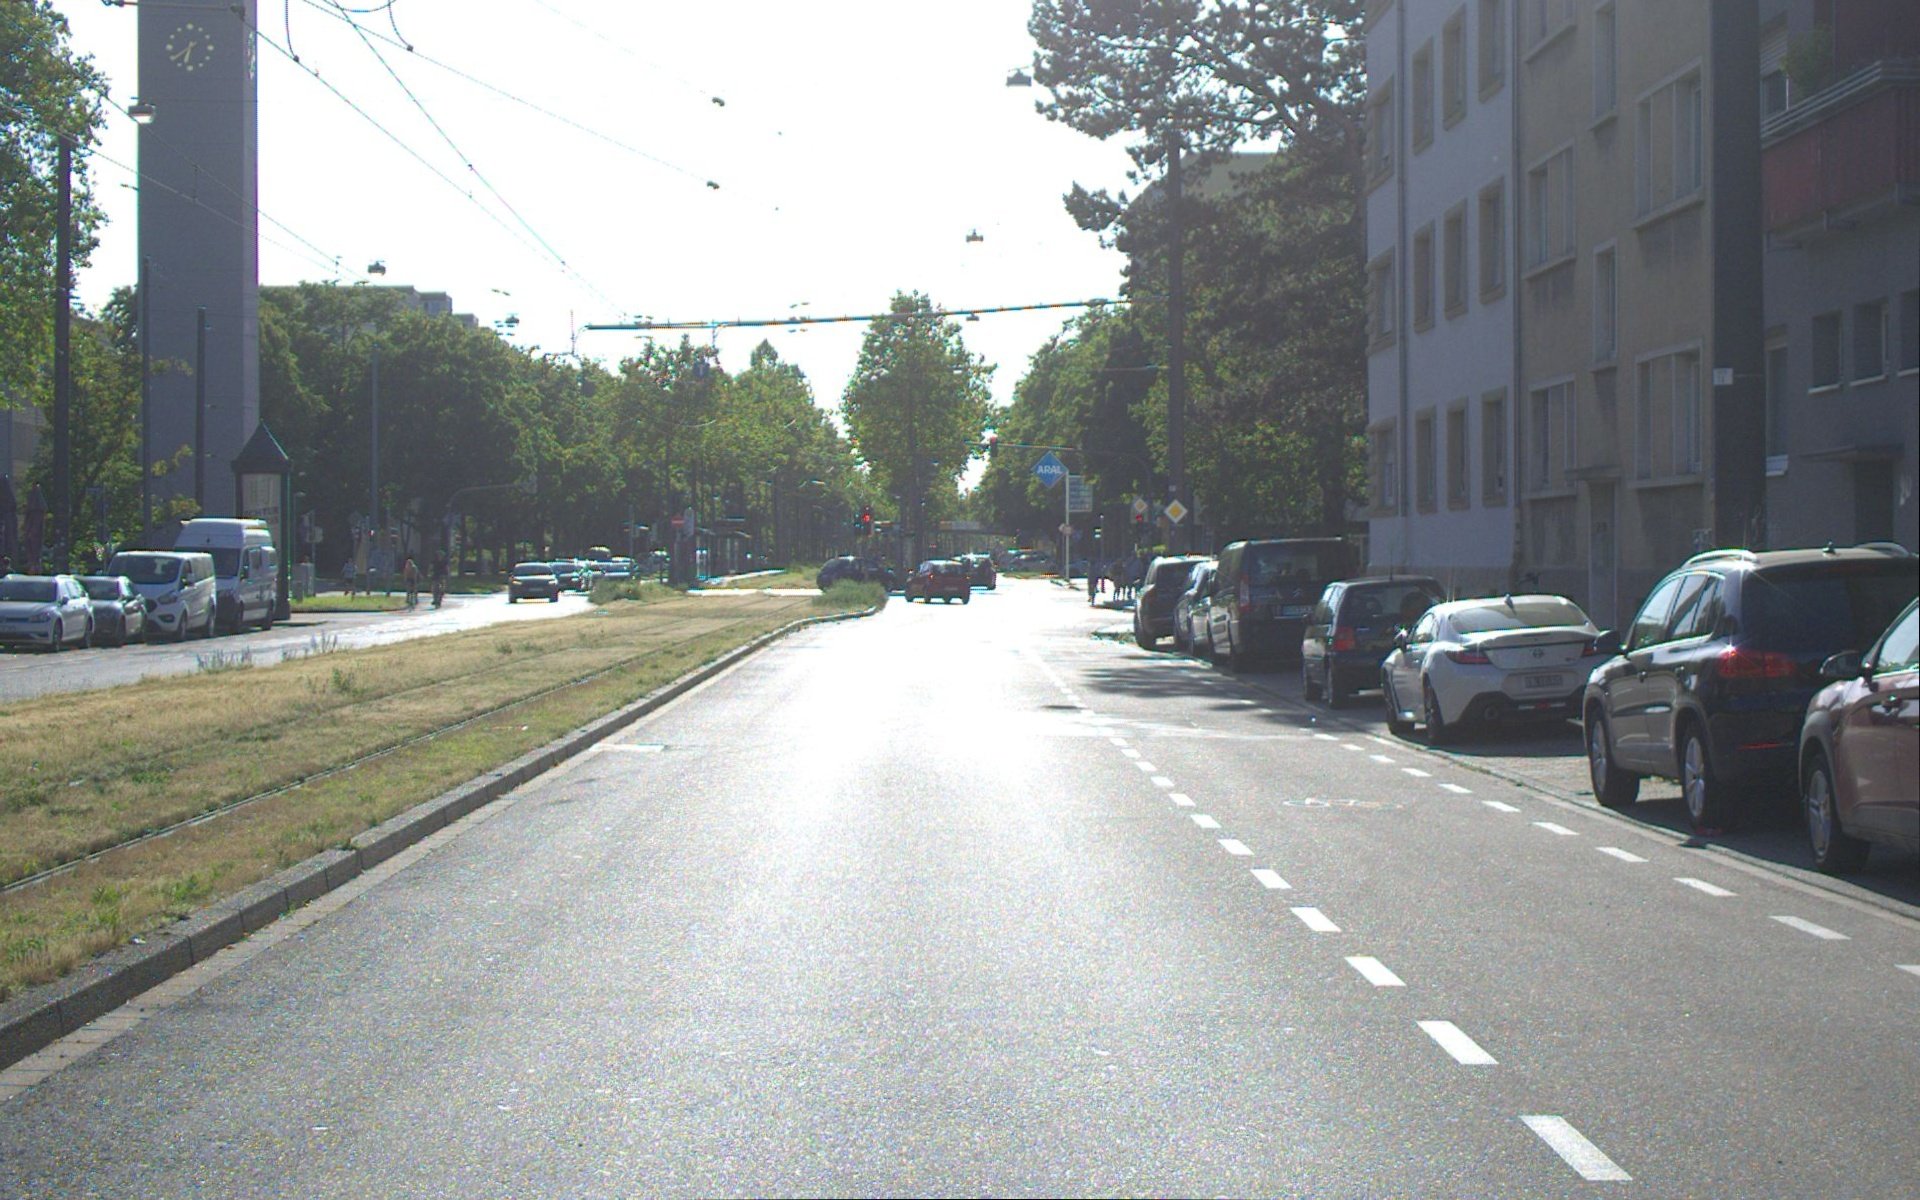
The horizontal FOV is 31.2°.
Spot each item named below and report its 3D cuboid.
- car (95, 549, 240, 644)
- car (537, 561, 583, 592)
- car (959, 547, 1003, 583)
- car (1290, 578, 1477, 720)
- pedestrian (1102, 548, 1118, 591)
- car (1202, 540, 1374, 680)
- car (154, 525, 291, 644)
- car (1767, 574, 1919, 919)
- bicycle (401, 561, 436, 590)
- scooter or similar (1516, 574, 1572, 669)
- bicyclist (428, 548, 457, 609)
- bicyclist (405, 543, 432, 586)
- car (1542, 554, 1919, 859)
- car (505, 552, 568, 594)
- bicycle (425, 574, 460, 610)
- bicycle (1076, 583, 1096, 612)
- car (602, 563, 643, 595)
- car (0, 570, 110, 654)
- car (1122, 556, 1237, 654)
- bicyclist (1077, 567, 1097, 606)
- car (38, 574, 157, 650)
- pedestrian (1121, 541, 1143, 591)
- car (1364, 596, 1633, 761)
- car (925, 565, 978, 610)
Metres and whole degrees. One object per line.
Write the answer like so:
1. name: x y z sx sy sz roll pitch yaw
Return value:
1. car: -18.367 -0.118 79.901 2.032 2.014 5.371 2 1 0
2. car: -19.909 -1.182 171.154 1.806 1.527 4.361 0 1 0
3. car: 1.014 -1.698 166.158 1.894 1.605 4.501 2 1 -2
4. car: 4.898 0.533 40.169 1.635 1.449 3.789 -2 1 0
5. pedestrian: 5.435 -1.114 124.612 0.529 1.523 0.627 -1 1 5
6. car: 4.854 0.096 51.590 1.913 1.893 5.136 -3 1 -1
7. car: -18.576 -0.439 86.914 2.032 2.859 6.228 1 1 0
8. car: 5.181 0.668 16.450 1.635 1.512 4.189 -1 1 0
9. bicycle: -17.282 -0.794 109.698 0.768 0.876 2.069 -2 1 0
10. scooter or similar: 7.929 0.286 46.735 0.458 1.234 1.339 -4 1 0
11. bicyclist: -17.317 -0.713 115.027 0.773 2.007 0.648 3 1 0
12. bicyclist: -17.275 -1.137 109.673 0.773 1.379 0.648 0 1 0
13. car: 5.018 0.582 21.884 1.635 1.642 4.374 -2 1 -3
14. car: -15.460 -1.014 125.657 1.694 1.443 4.217 -1 1 0
15. bicycle: -17.345 -0.285 115.226 0.768 1.142 2.475 -2 1 0
16. bicycle: 4.468 -0.093 121.838 0.648 0.969 1.803 3 1 2
17. car: -16.909 -1.061 172.374 1.687 1.527 4.361 0 1 0
18. car: -18.369 0.213 68.421 1.892 1.486 4.704 2 1 -3
19. car: 4.220 0.058 66.834 1.879 1.711 4.934 -3 1 1
20. bicyclist: 4.493 -0.476 121.856 0.638 1.318 0.803 3 1 2
21. car: -18.561 0.231 74.146 1.694 1.509 4.327 1 1 -3
22. pedestrian: 6.242 -1.236 124.480 0.703 1.783 0.694 -2 2 5
23. car: 5.008 0.687 32.488 1.702 1.271 4.304 -4 1 -1
24. car: -0.335 -0.458 122.976 1.694 1.503 3.699 2 1 -3
